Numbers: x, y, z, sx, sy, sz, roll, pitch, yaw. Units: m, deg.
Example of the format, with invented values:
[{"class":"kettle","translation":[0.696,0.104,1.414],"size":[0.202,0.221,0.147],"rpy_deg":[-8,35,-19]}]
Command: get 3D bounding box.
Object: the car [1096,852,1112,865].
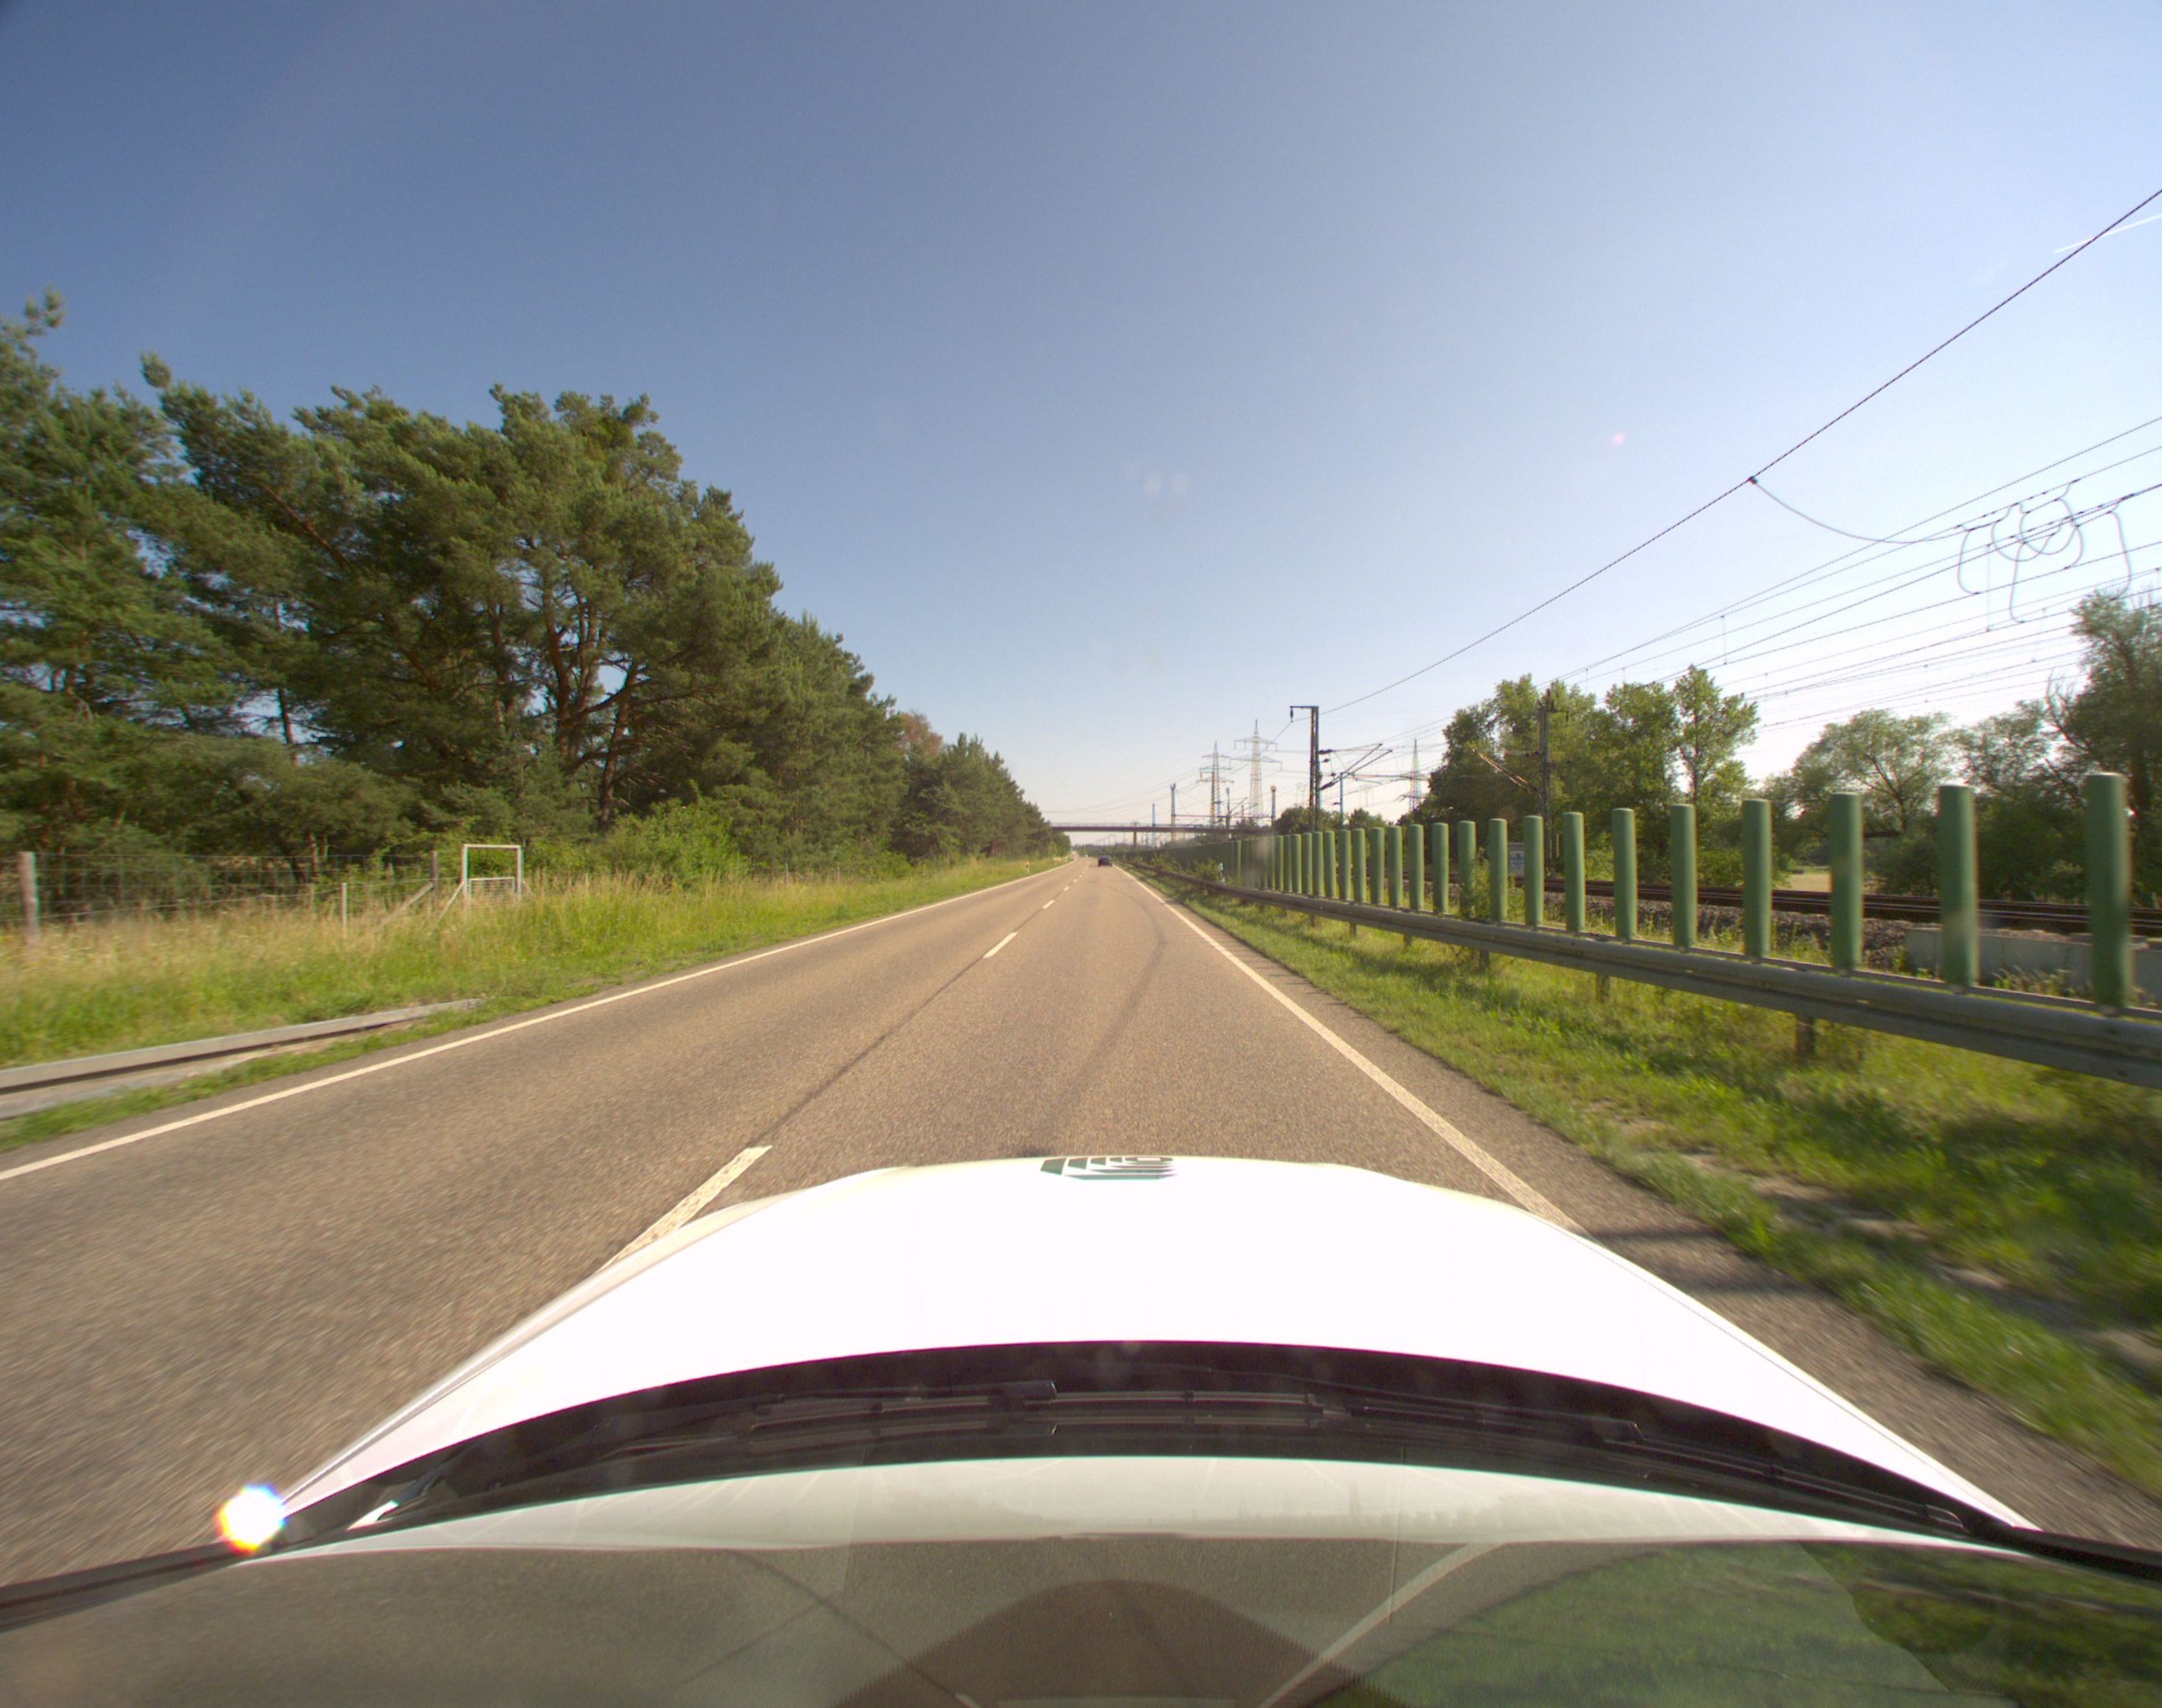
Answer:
[{"class":"car","translation":[3.014,0.586,107.647],"size":[1.853,1.642,3.999],"rpy_deg":[-2,0,-1]}]
